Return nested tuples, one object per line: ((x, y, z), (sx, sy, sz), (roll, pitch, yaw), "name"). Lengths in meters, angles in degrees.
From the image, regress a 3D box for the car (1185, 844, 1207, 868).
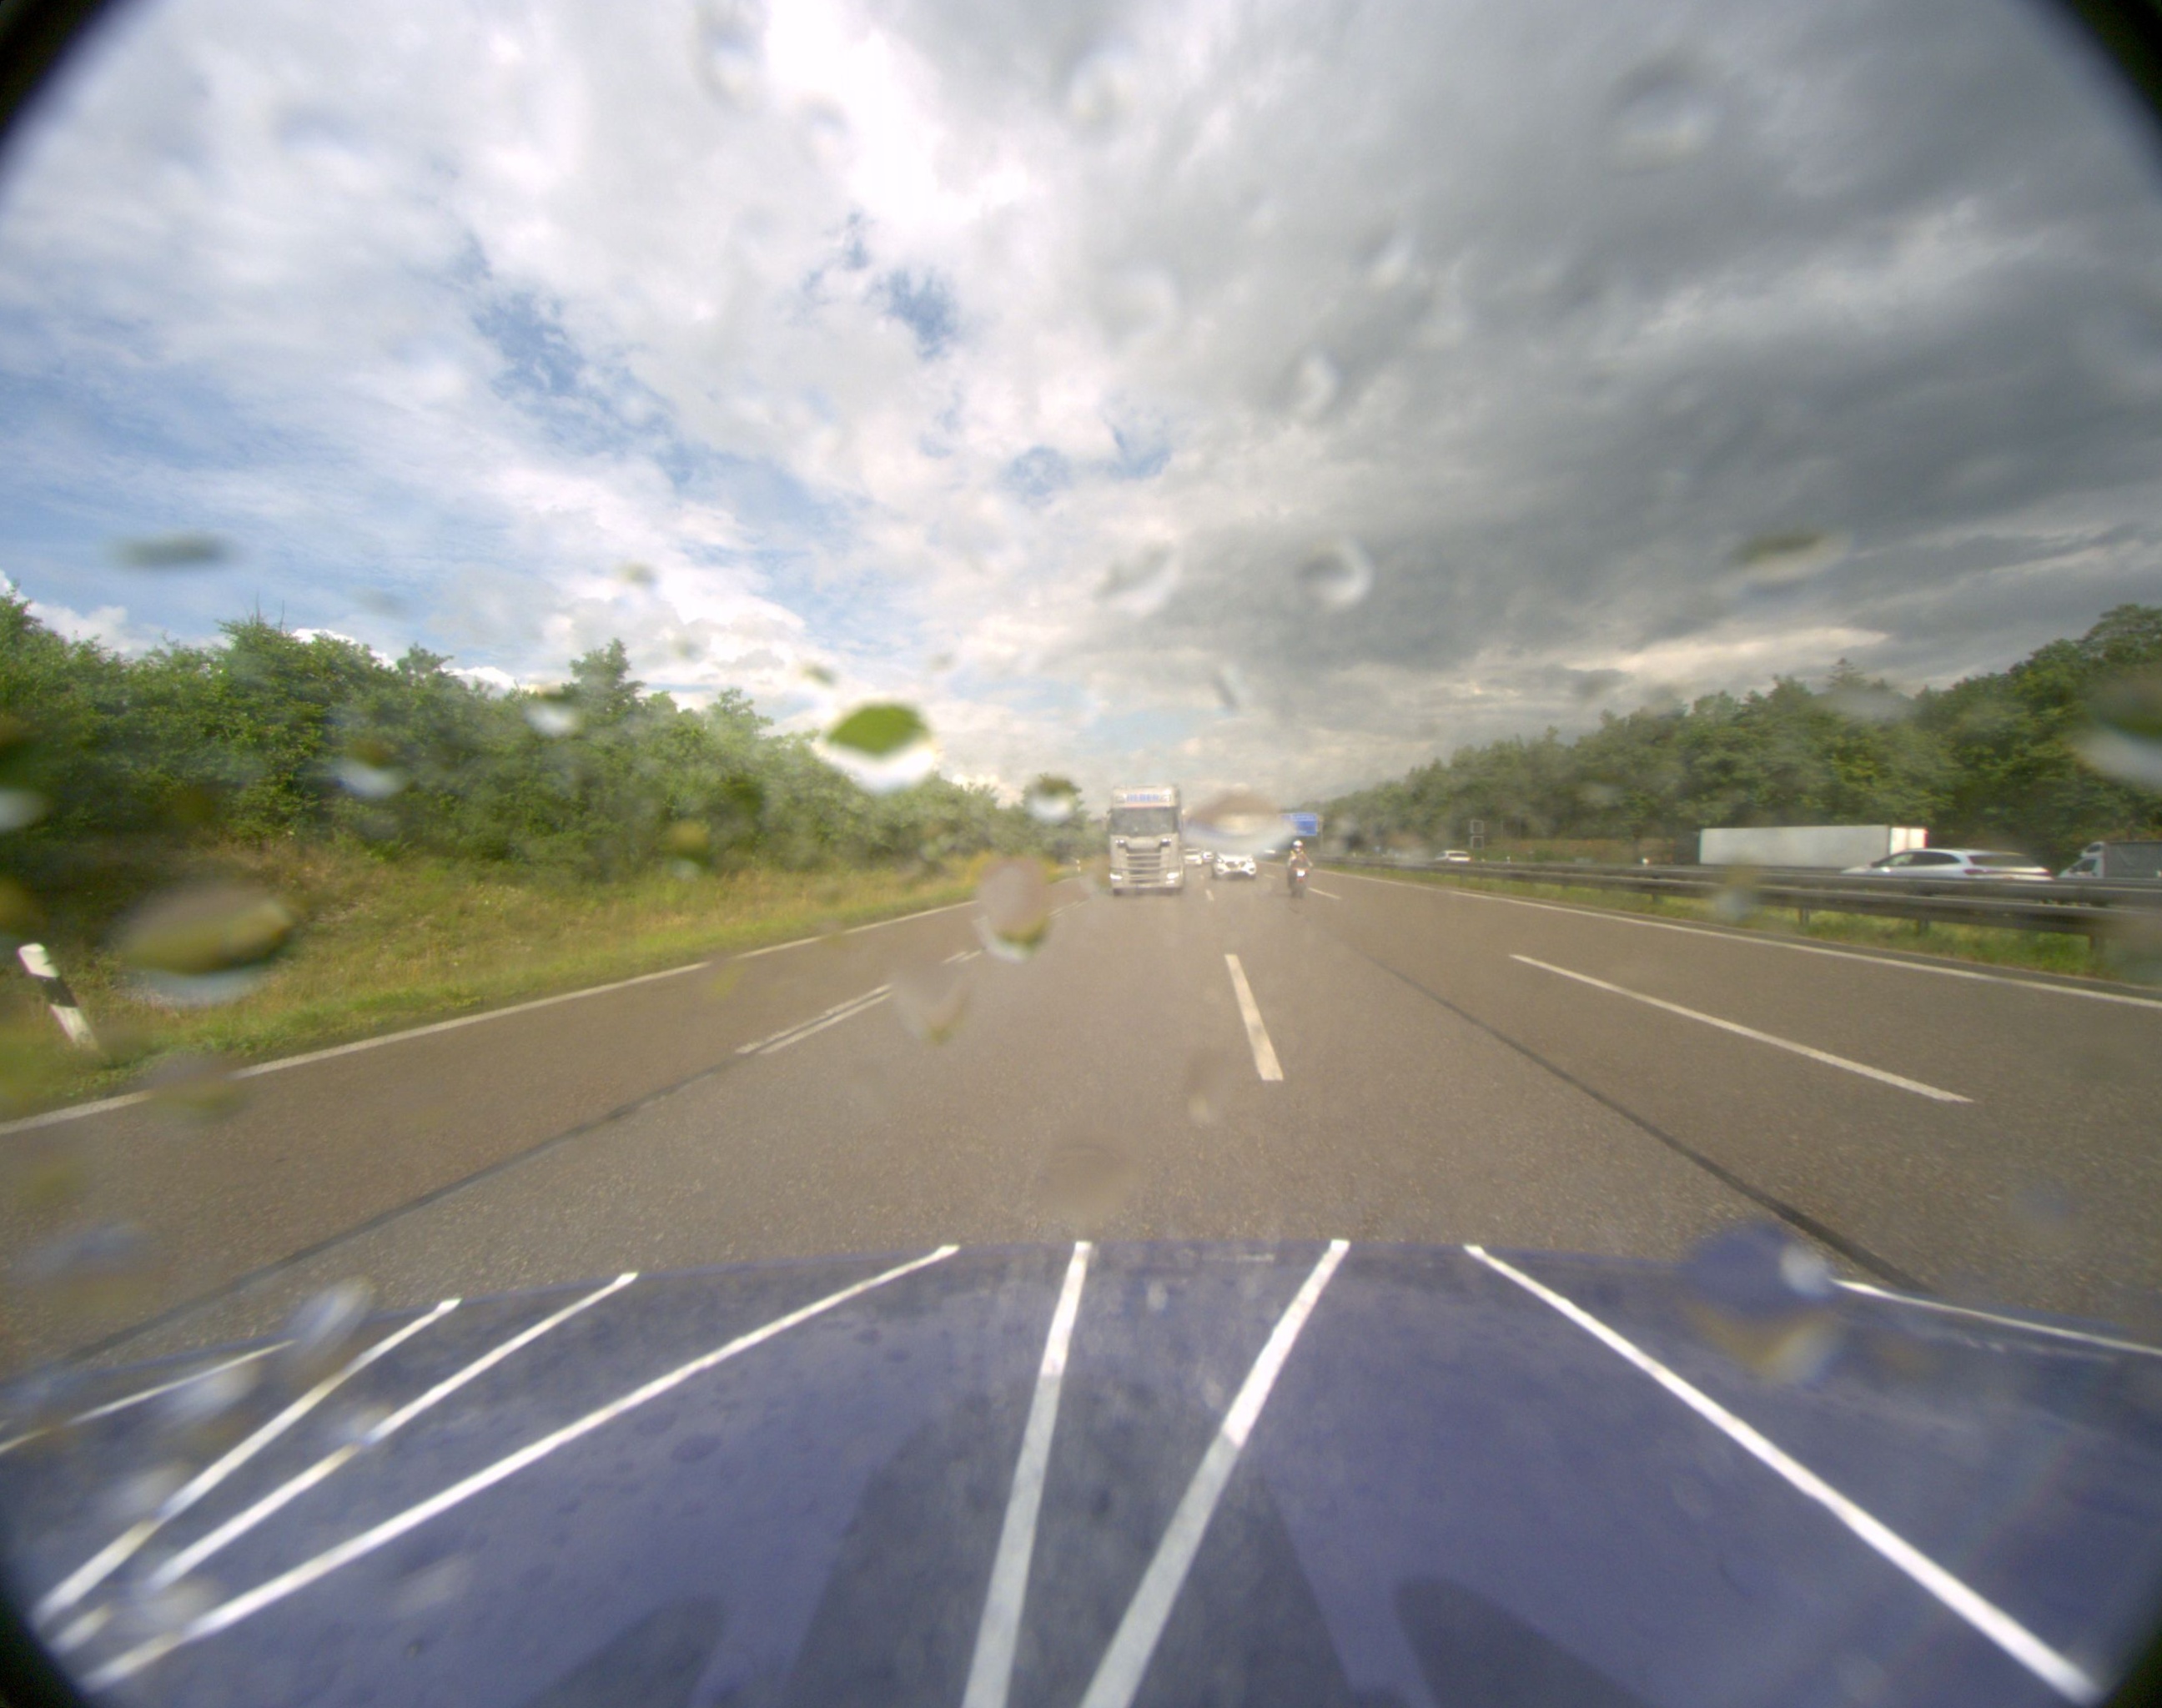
((10.365, 0.119, 68.715), (1.833, 2.033, 4.781), (-2, 1, 9), "car")

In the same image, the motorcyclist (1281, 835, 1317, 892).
((6.683, 0.282, 23.375), (0.883, 1.696, 1.001), (-2, 1, 6), "motorcyclist")

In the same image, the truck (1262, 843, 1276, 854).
((36.919, -1.089, 149.397), (2.261, 1.884, 5.449), (-2, 1, 9), "truck")

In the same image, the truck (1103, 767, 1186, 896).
((2.470, -0.807, 28.793), (2.648, 4.250, 6.886), (-2, 1, 6), "truck")

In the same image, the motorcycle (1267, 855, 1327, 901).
((6.609, 0.698, 23.463), (1.187, 1.219, 3.195), (-2, 1, 6), "motorcycle")

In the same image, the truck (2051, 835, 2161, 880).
((55.790, 0.164, 39.622), (2.124, 2.252, 6.315), (-1, 1, -4), "truck")

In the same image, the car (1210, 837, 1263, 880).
((7.920, 0.165, 39.196), (2.348, 2.033, 5.145), (-2, 1, 9), "car")

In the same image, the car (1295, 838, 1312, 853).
((32.626, -1.262, 111.486), (1.833, 2.033, 4.781), (-2, 1, 9), "car")

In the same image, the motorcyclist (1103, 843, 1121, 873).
((1.791, 0.239, 43.951), (0.883, 1.696, 1.001), (-2, 1, 6), "motorcyclist")

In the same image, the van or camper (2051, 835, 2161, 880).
((55.728, 0.166, 39.578), (2.124, 2.252, 6.320), (-1, 1, -4), "van or camper")

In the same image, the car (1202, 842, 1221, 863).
((13.845, -0.192, 80.817), (1.833, 2.033, 4.781), (-2, 1, 9), "car")

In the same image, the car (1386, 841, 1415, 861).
((35.743, -0.369, 85.130), (1.833, 2.033, 4.781), (-2, 1, 9), "car")

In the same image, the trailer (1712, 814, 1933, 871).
((53.955, -0.837, 56.201), (3.213, 3.717, 12.562), (0, 1, -5), "trailer")

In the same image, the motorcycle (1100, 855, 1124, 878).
((1.803, 0.706, 44.119), (1.187, 1.142, 3.195), (-2, 1, 6), "motorcycle")

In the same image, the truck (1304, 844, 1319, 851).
((38.691, -1.100, 127.638), (1.892, 1.187, 4.002), (-2, 1, 8), "truck")

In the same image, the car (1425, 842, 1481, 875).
((23.676, 0.243, 48.550), (1.833, 1.880, 4.781), (-2, 1, 9), "car")

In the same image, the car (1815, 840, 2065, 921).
((22.803, 0.595, 20.529), (1.833, 1.880, 4.781), (-2, 1, 9), "car")

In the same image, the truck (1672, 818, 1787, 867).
((53.321, -0.947, 62.755), (3.217, 3.683, 6.912), (-2, 1, -5), "truck")
